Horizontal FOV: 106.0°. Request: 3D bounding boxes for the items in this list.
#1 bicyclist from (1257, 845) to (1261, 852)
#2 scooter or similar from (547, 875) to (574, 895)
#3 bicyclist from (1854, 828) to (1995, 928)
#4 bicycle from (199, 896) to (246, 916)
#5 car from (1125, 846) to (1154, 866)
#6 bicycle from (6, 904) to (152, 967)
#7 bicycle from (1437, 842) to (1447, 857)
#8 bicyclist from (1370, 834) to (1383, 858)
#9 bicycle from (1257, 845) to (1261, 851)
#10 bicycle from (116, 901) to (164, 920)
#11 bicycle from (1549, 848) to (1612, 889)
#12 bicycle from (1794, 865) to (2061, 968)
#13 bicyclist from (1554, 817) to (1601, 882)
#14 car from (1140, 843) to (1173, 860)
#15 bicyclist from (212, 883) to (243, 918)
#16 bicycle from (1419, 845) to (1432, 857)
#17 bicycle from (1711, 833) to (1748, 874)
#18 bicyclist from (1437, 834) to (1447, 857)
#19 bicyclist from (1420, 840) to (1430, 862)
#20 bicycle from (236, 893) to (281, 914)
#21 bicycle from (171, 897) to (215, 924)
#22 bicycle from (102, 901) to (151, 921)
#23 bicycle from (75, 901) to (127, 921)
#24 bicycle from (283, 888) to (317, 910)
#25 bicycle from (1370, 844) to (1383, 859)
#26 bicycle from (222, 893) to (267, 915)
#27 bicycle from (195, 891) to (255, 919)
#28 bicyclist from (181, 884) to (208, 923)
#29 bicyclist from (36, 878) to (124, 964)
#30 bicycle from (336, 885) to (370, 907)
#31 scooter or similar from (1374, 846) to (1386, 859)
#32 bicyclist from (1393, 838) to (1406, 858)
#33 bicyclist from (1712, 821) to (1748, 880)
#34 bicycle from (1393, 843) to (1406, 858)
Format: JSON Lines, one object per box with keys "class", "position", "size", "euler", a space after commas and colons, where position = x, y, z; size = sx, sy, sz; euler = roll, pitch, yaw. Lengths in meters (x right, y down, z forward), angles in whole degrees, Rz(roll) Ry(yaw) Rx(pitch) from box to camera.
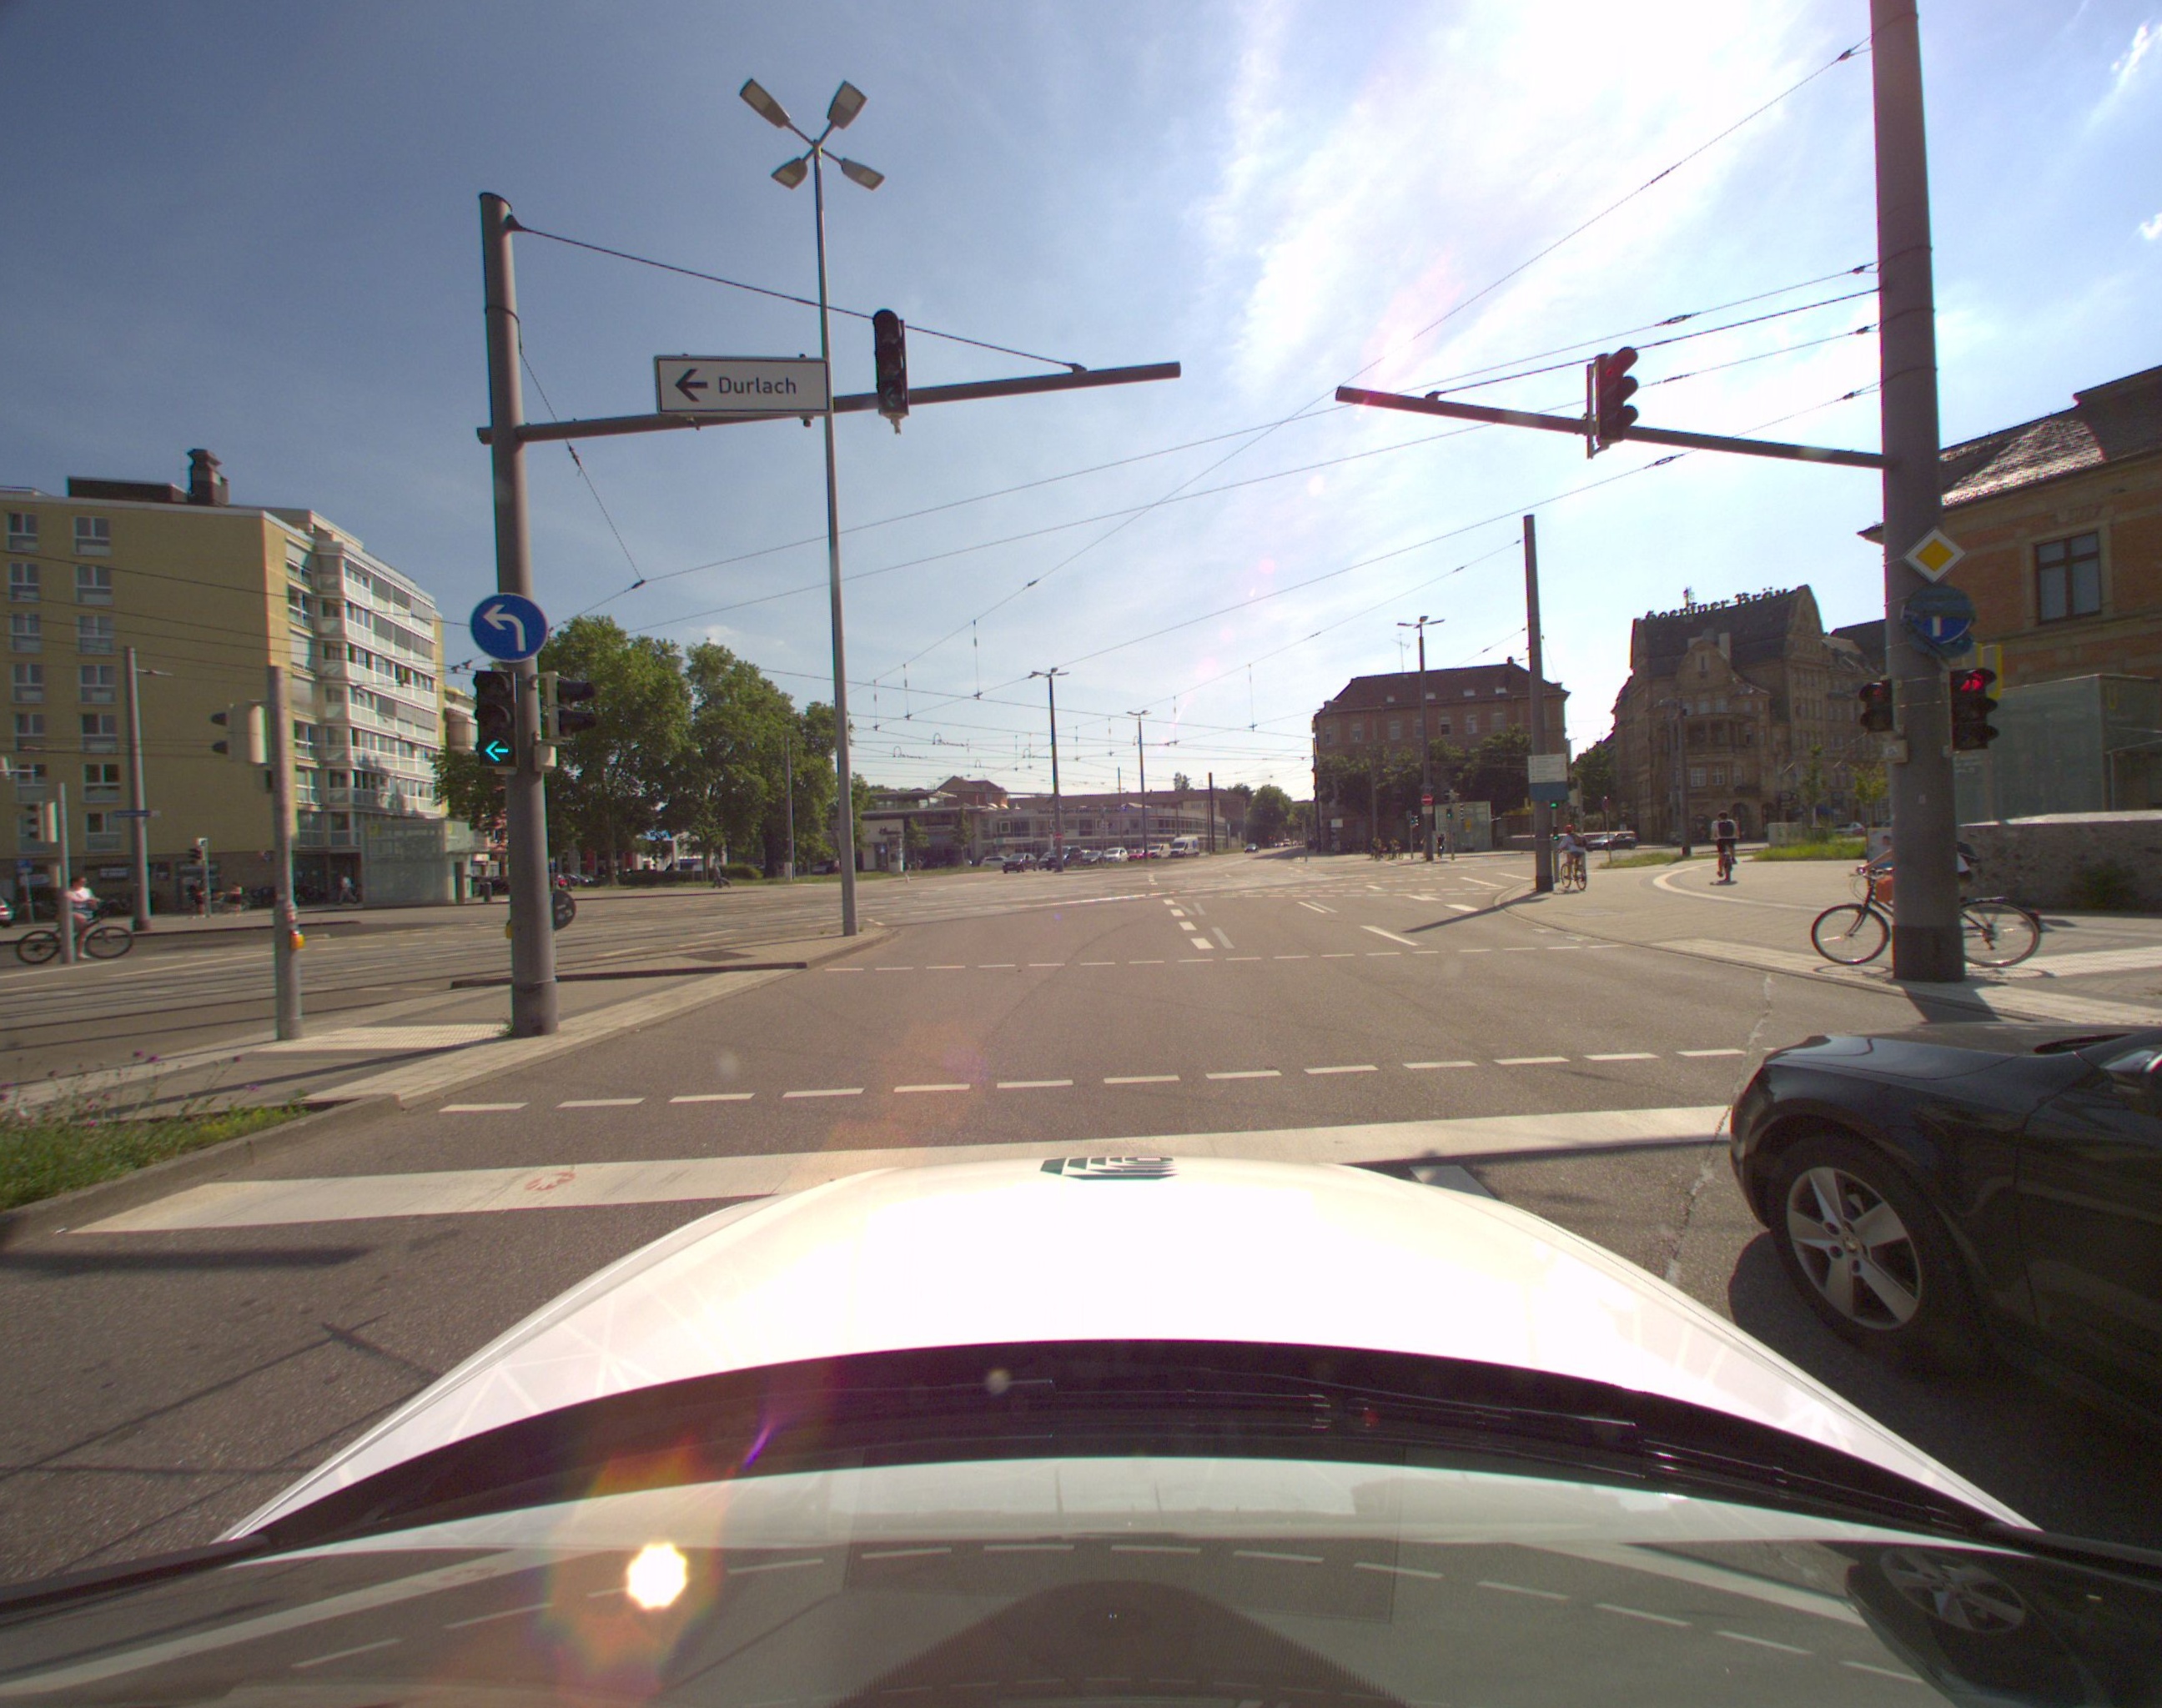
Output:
{"class": "bicyclist", "position": [40.253, -1.153, 184.115], "size": [0.746, 1.568, 1.091], "euler": [-1, -1, 16]}
{"class": "scooter or similar", "position": [-32.092, 1.913, 50.197], "size": [1.351, 1.119, 0.519], "euler": [-2, 0, 11]}
{"class": "bicyclist", "position": [9.326, 0.262, 9.053], "size": [0.904, 1.029, 0.721], "euler": [-5, -1, 35]}
{"class": "bicycle", "position": [-48.411, 2.912, 45.918], "size": [1.751, 0.965, 0.582], "euler": [-3, 1, -11]}
{"class": "car", "position": [6.144, 0.226, 85.358], "size": [1.879, 1.917, 4.220], "euler": [-3, -1, 19]}
{"class": "bicycle", "position": [-20.912, 1.688, 17.037], "size": [1.843, 1.083, 0.749], "euler": [-4, 0, -9]}
{"class": "bicycle", "position": [26.644, -0.357, 60.050], "size": [0.661, 1.069, 2.478], "euler": [-1, 1, 24]}
{"class": "bicyclist", "position": [22.516, -0.571, 62.043], "size": [0.919, 1.820, 1.057], "euler": [-1, -1, 20]}
{"class": "bicycle", "position": [40.243, -1.373, 184.071], "size": [0.746, 1.194, 2.851], "euler": [-1, -1, 16]}
{"class": "bicycle", "position": [-51.982, 3.118, 44.996], "size": [1.750, 0.916, 0.582], "euler": [-3, 1, -8]}
{"class": "bicycle", "position": [13.592, 0.385, 22.230], "size": [0.710, 1.015, 2.026], "euler": [-5, 0, 10]}
{"class": "bicycle", "position": [9.302, 0.707, 9.081], "size": [1.894, 1.015, 0.721], "euler": [-5, -1, 35]}
{"class": "bicyclist", "position": [13.543, -0.121, 22.227], "size": [0.710, 1.669, 0.877], "euler": [-5, -1, 10]}
{"class": "car", "position": [8.573, -0.319, 92.361], "size": [2.165, 1.680, 5.058], "euler": [-3, 0, 24]}
{"class": "bicyclist", "position": [-39.239, 2.128, 37.458], "size": [0.728, 1.572, 0.613], "euler": [-3, -1, 2]}
{"class": "bicycle", "position": [25.951, -0.213, 61.411], "size": [0.497, 0.866, 1.590], "euler": [0, 0, 7]}
{"class": "bicycle", "position": [17.006, -0.009, 21.334], "size": [0.707, 1.015, 2.033], "euler": [-1, -1, 39]}
{"class": "bicyclist", "position": [26.355, -0.612, 59.419], "size": [0.661, 1.624, 0.787], "euler": [-1, 0, 24]}
{"class": "bicyclist", "position": [25.951, -0.219, 61.465], "size": [0.497, 1.621, 0.651], "euler": [0, 0, 7]}
{"class": "bicycle", "position": [-46.806, 2.798, 46.378], "size": [1.750, 1.043, 0.582], "euler": [-3, 1, -9]}
{"class": "bicycle", "position": [-40.927, 2.573, 37.549], "size": [0.584, 1.130, 1.784], "euler": [-3, -1, -21]}
{"class": "bicycle", "position": [-52.060, 3.114, 44.433], "size": [1.750, 0.916, 0.582], "euler": [-3, 1, -8]}
{"class": "bicycle", "position": [-53.557, 3.125, 44.504], "size": [1.754, 0.916, 0.581], "euler": [-3, 1, -15]}
{"class": "bicycle", "position": [-46.282, 2.663, 48.286], "size": [0.540, 1.186, 1.881], "euler": [-2, 0, -13]}
{"class": "bicycle", "position": [22.564, -0.185, 62.214], "size": [0.919, 1.069, 2.760], "euler": [-1, -1, 19]}
{"class": "bicycle", "position": [-46.953, 2.805, 45.715], "size": [1.747, 1.085, 0.583], "euler": [-3, 3, -4]}
{"class": "bicycle", "position": [-39.283, 2.346, 37.391], "size": [0.749, 1.130, 1.798], "euler": [-2, 0, 3]}
{"class": "bicyclist", "position": [-40.781, 2.263, 37.480], "size": [0.584, 1.735, 0.613], "euler": [-3, -1, -22]}
{"class": "bicyclist", "position": [-20.912, 1.377, 17.031], "size": [0.774, 1.684, 0.749], "euler": [-4, 0, -9]}
{"class": "bicycle", "position": [-44.383, 2.549, 49.664], "size": [0.581, 1.219, 1.754], "euler": [-3, 1, -5]}
{"class": "scooter or similar", "position": [21.866, -0.111, 59.553], "size": [0.584, 0.976, 0.992], "euler": [0, -1, 2]}
{"class": "bicyclist", "position": [23.709, -0.471, 60.664], "size": [0.918, 1.451, 1.258], "euler": [-1, 1, 21]}
{"class": "bicyclist", "position": [17.014, -0.082, 21.354], "size": [0.707, 1.488, 0.956], "euler": [-1, -1, 39]}
{"class": "bicycle", "position": [23.733, -0.299, 60.702], "size": [0.918, 1.069, 2.856], "euler": [-1, 1, 21]}
